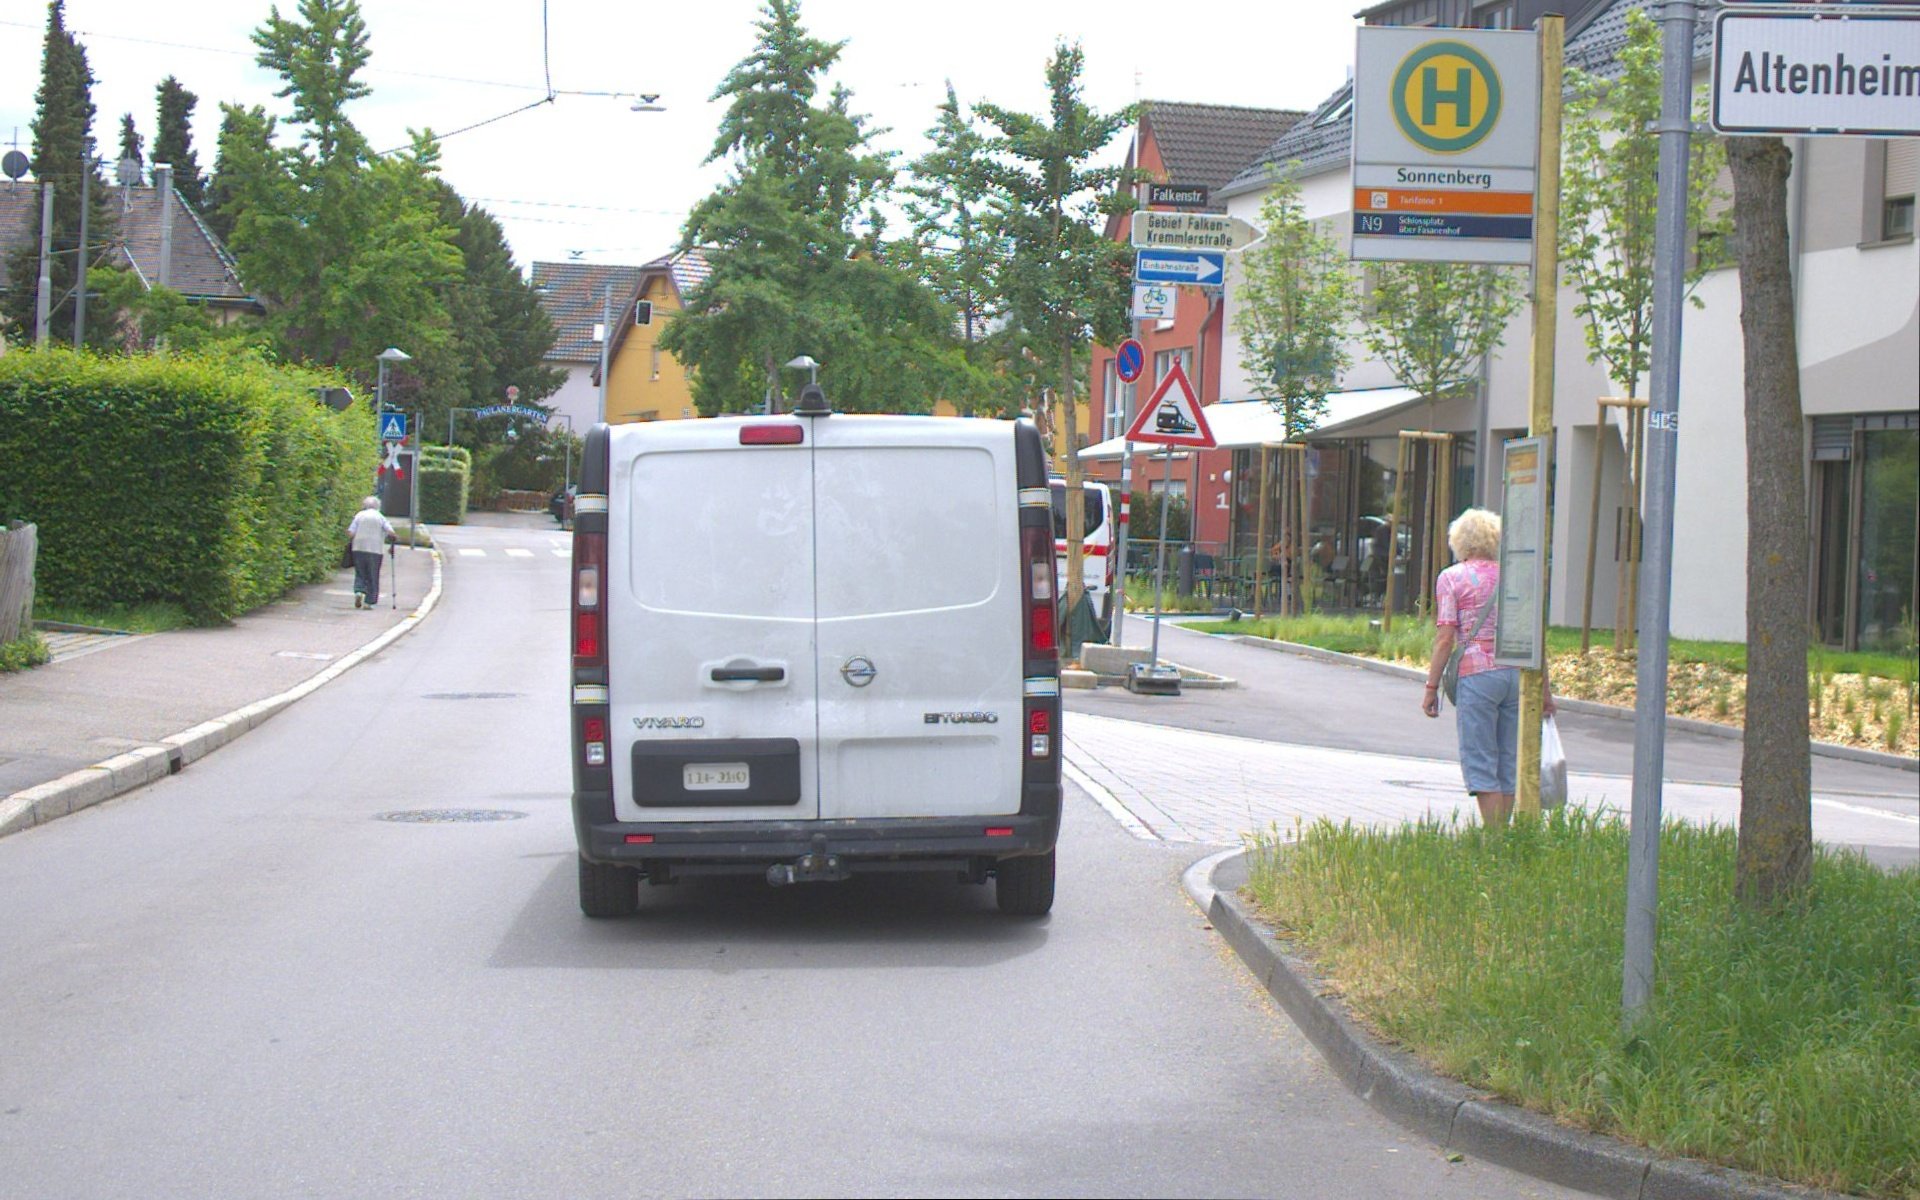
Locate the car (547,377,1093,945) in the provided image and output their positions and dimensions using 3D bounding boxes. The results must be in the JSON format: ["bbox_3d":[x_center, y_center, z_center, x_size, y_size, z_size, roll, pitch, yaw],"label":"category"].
[{"bbox_3d":[-0.730,0.197,14.575,1.915,1.996,4.439,1,1,-6],"label":"car"}]

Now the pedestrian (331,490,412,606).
[{"bbox_3d":[-7.889,-0.696,46.057,0.876,1.480,0.455,4,1,-26],"label":"pedestrian"}]

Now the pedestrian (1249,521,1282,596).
[{"bbox_3d":[4.912,-0.668,55.256,0.421,1.178,0.324,2,1,-9],"label":"pedestrian"}]

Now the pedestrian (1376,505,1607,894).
[{"bbox_3d":[2.401,0.434,15.498,0.881,1.639,0.856,4,1,10],"label":"pedestrian"}]

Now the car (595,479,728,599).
[{"bbox_3d":[-4.915,-1.003,56.153,1.993,1.842,4.001,1,1,-7],"label":"car"}]

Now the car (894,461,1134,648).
[{"bbox_3d":[0.548,-0.548,40.065,1.958,1.909,4.903,4,1,-8],"label":"car"}]

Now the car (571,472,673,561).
[{"bbox_3d":[-7.095,-1.746,71.873,1.993,1.776,4.001,1,1,-7],"label":"car"}]
